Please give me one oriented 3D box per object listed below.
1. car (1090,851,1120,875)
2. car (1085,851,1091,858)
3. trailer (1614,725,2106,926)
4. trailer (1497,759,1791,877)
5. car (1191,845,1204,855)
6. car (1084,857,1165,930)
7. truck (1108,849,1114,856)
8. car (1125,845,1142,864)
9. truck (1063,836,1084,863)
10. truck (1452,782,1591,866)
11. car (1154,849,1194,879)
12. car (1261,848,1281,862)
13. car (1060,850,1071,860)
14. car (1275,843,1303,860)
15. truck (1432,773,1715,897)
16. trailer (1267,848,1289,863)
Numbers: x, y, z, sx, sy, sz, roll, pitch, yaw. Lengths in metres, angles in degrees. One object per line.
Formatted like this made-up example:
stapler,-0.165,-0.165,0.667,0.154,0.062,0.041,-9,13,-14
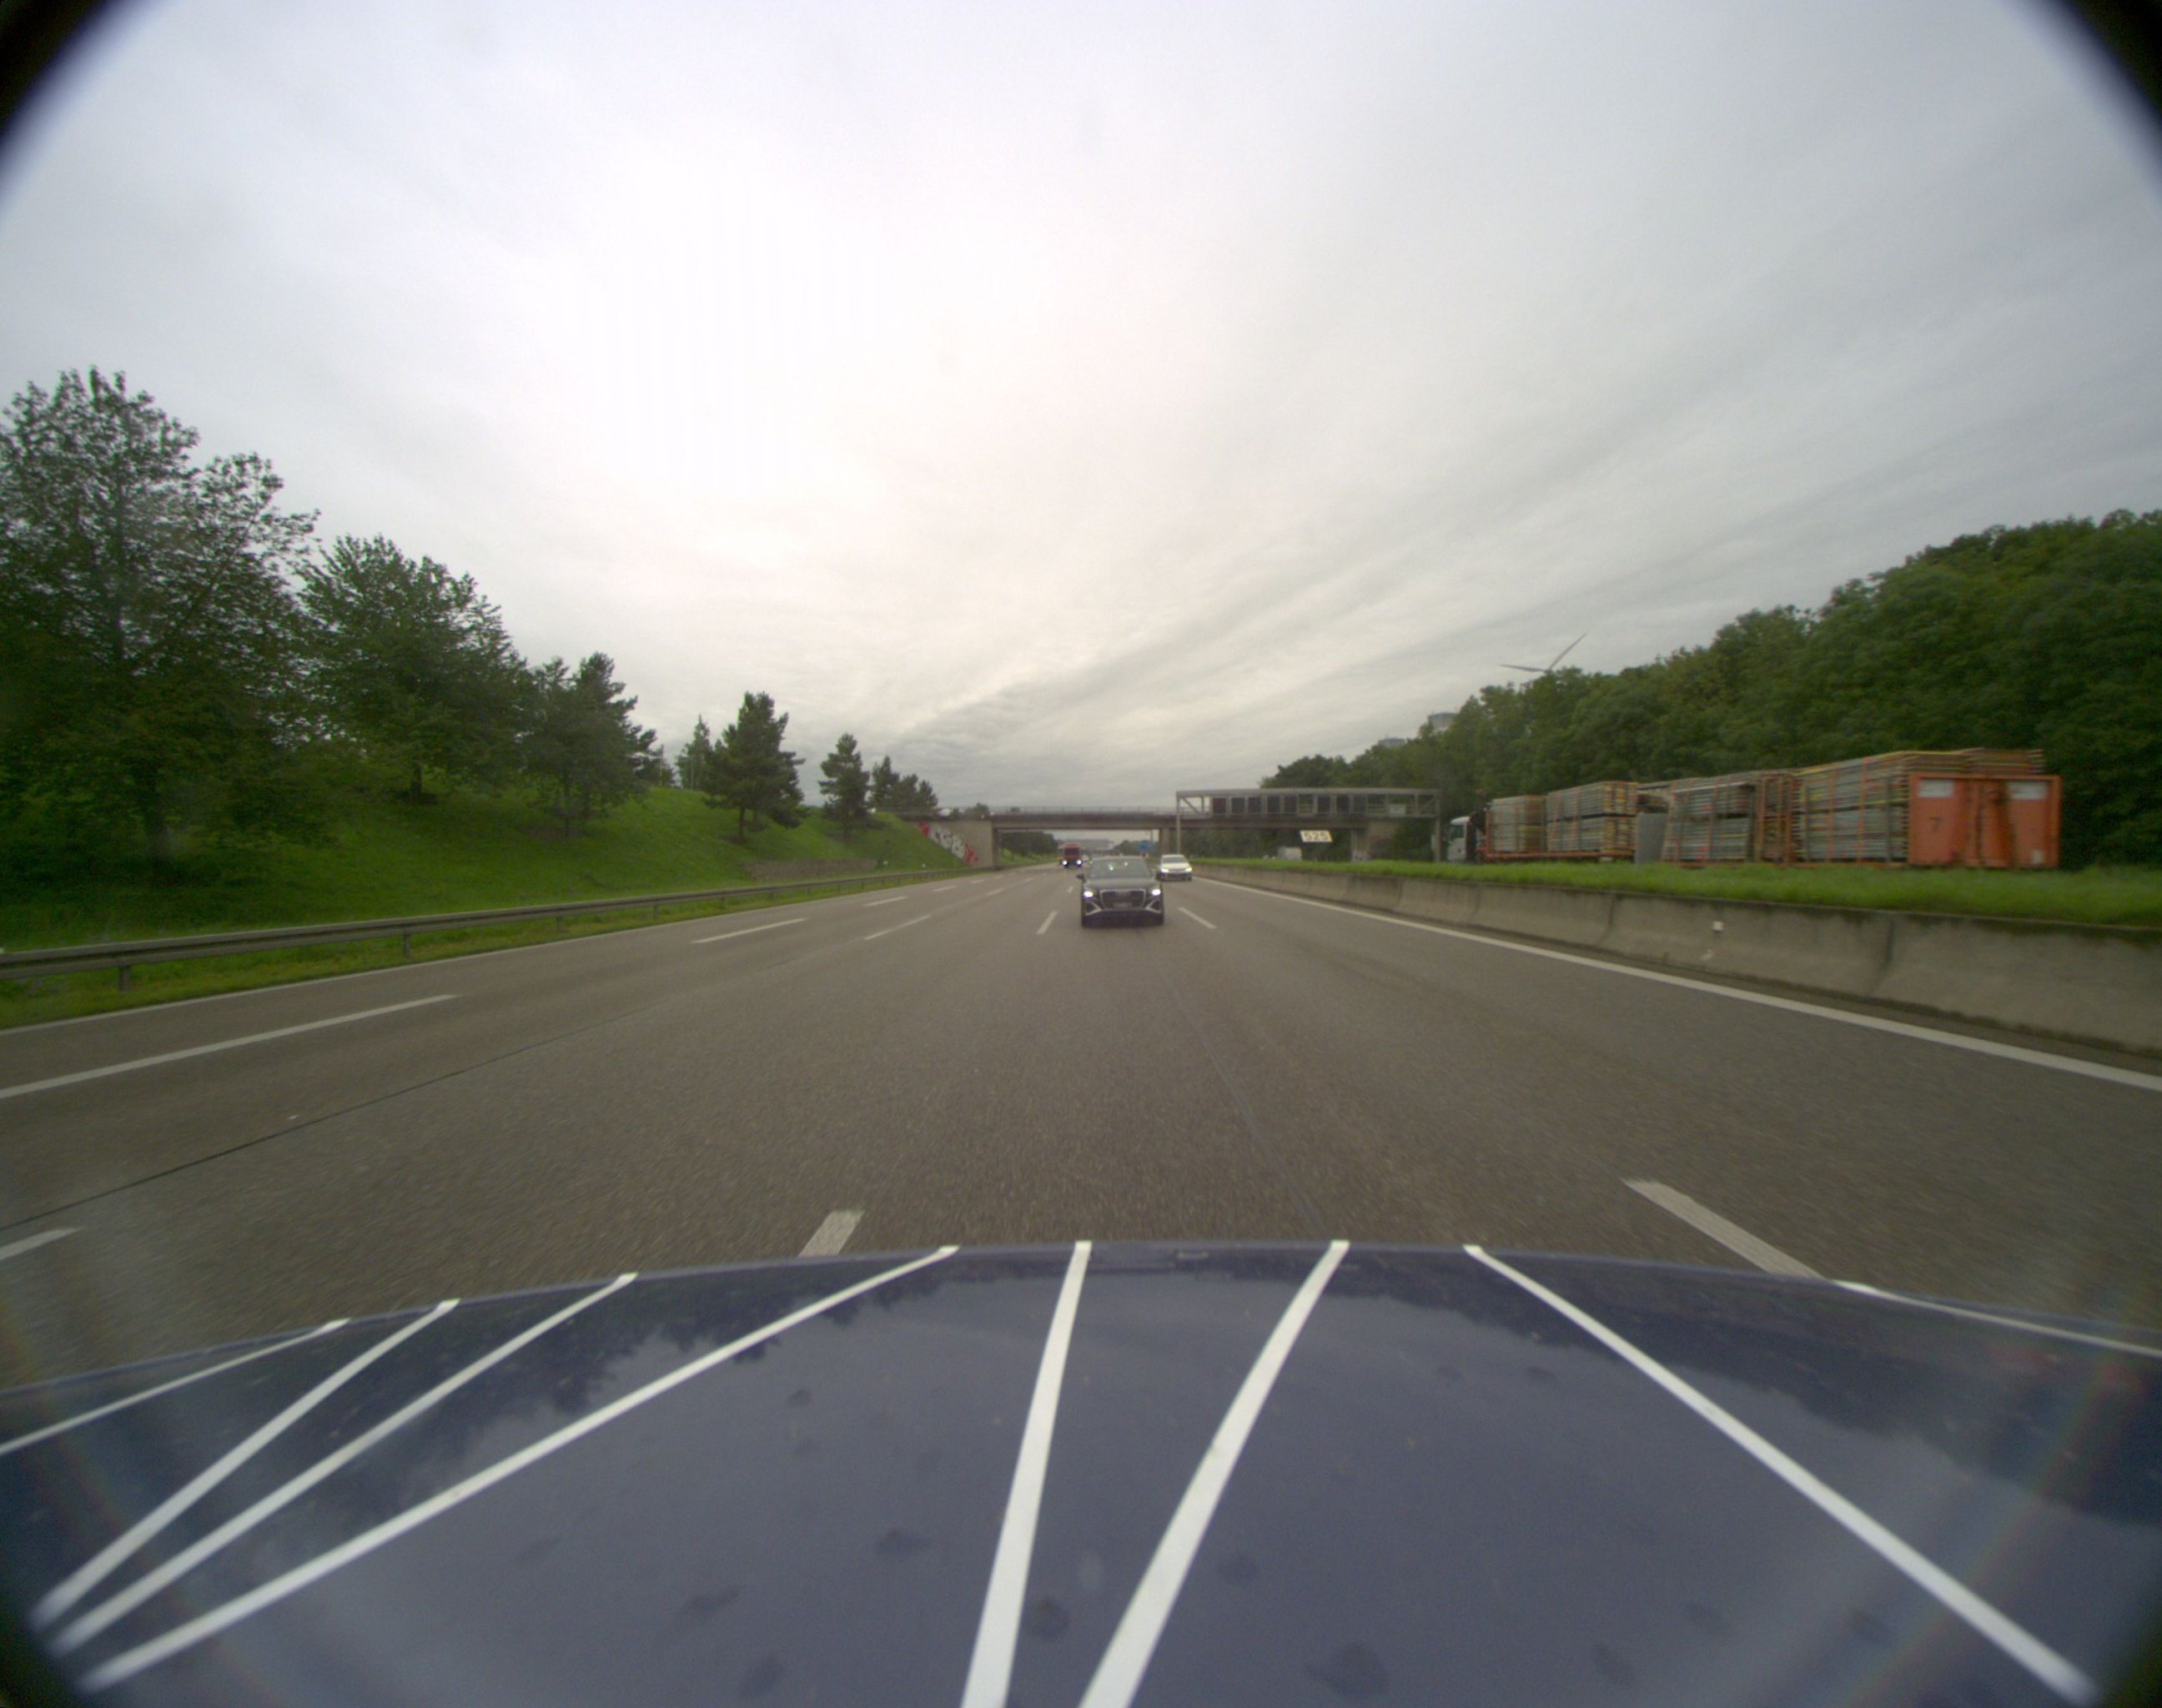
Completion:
car,1.688,0.628,53.982,1.998,1.555,4.910,-2,0,1
car,1.835,0.134,198.172,1.690,1.875,3.741,-2,1,1
trailer,16.732,-0.548,17.626,2.939,3.439,8.319,-2,1,1
trailer,20.667,-1.180,29.429,2.692,3.519,11.869,-2,1,1
car,22.785,-0.862,149.084,1.998,1.928,3.999,-1,1,0
car,0.913,0.822,17.302,1.616,1.403,3.326,-2,1,0
truck,10.011,-0.462,252.126,1.998,2.002,4.000,-2,0,1
car,5.899,0.021,85.799,1.725,2.002,3.851,-2,1,1
truck,-1.070,-0.638,111.704,2.836,3.634,10.669,-2,1,0
truck,20.711,-1.338,36.252,2.673,3.531,6.760,-2,1,0
car,5.254,0.546,43.595,1.757,1.608,4.663,-1,0,1
car,29.591,0.086,118.299,1.998,2.002,4.366,-2,1,2
car,-3.343,0.229,164.618,1.998,2.002,4.000,-2,1,2
car,26.906,-0.388,98.489,2.202,2.072,6.066,-2,1,2
truck,16.821,-0.608,27.530,2.958,3.446,11.183,-2,1,0
trailer,29.479,0.192,113.828,1.998,2.002,5.177,-2,1,3
